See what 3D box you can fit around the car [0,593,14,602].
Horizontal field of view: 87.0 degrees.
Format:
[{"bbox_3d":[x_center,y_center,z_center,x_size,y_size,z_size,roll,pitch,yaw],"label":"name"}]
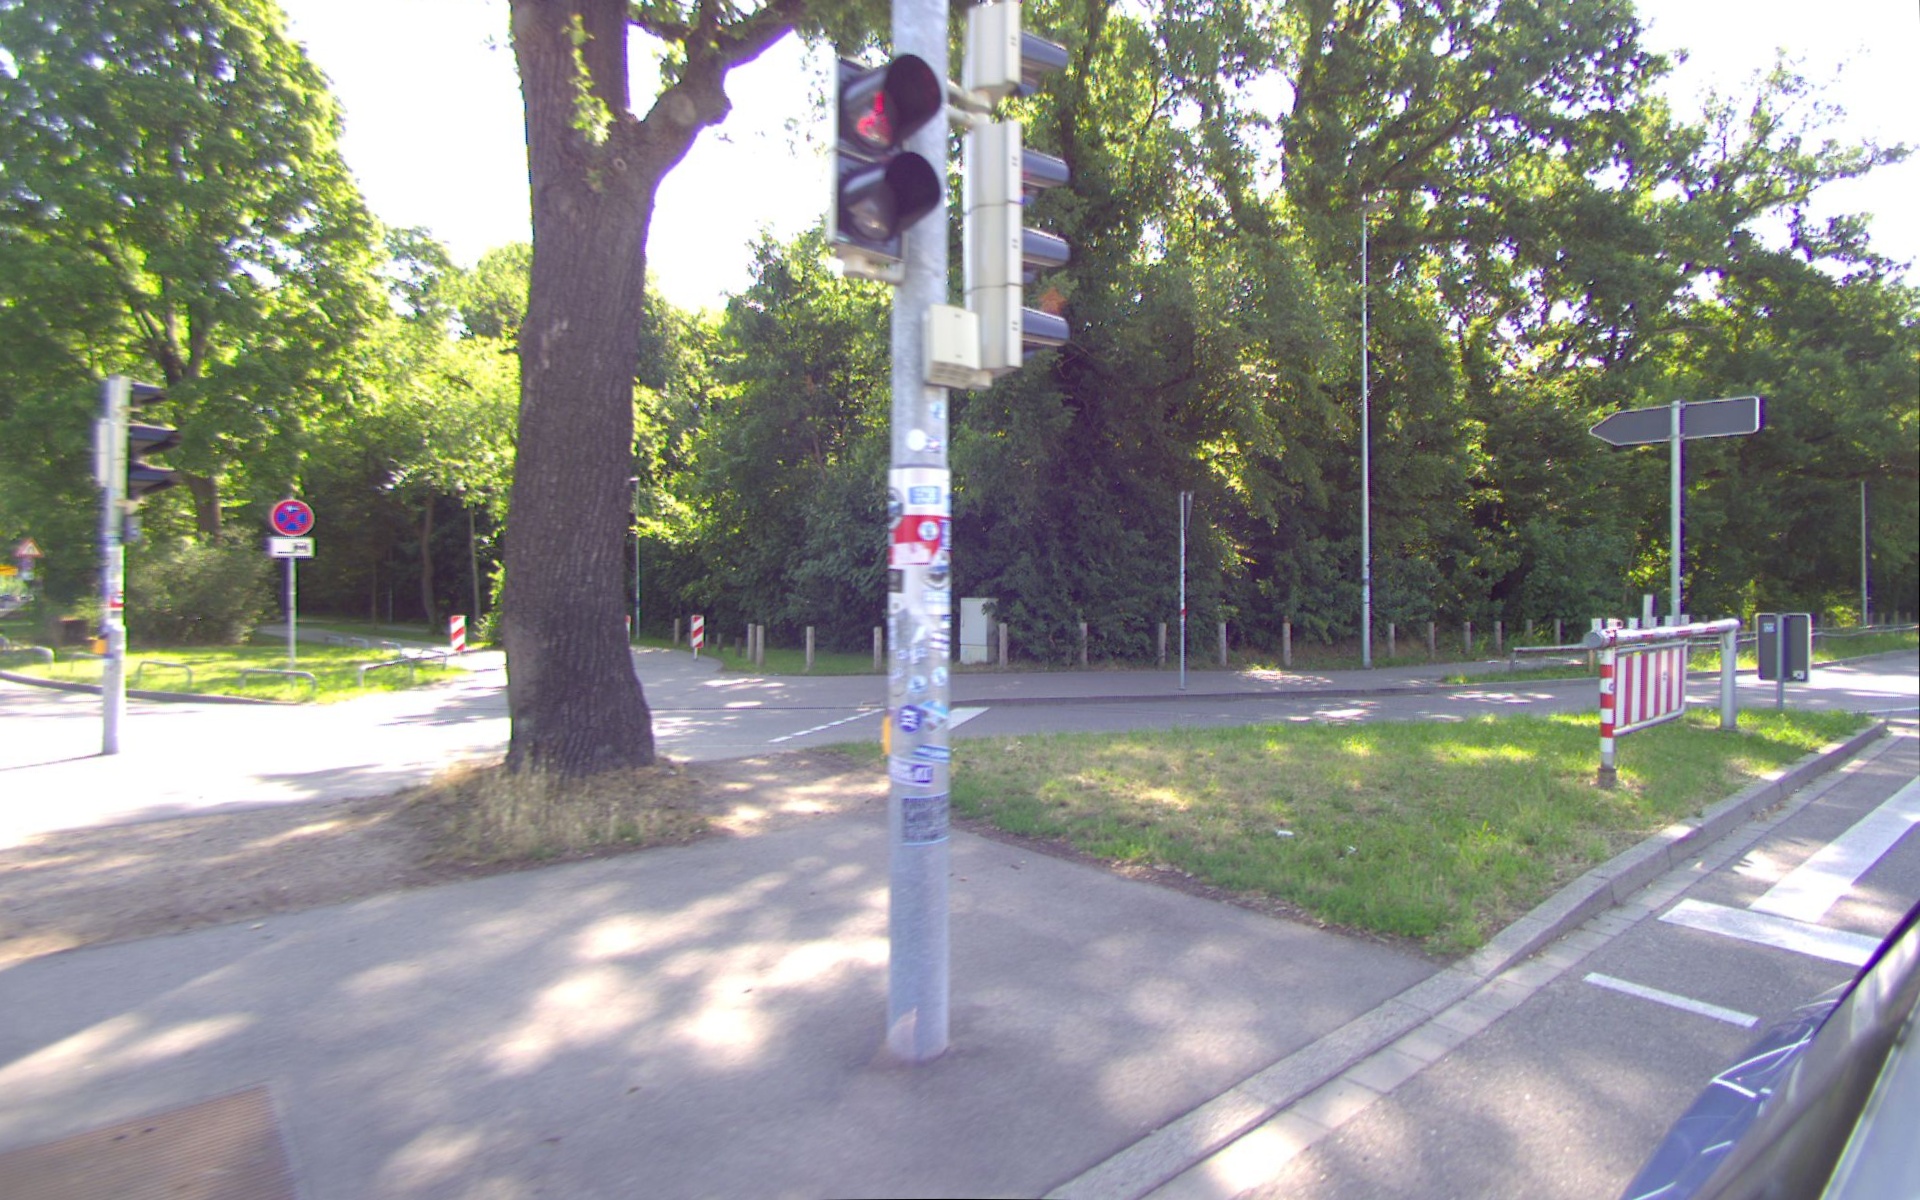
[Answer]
[{"bbox_3d":[-161.039,-0.362,170.843,1.728,1.527,3.995,0,0,-39],"label":"car"}]
